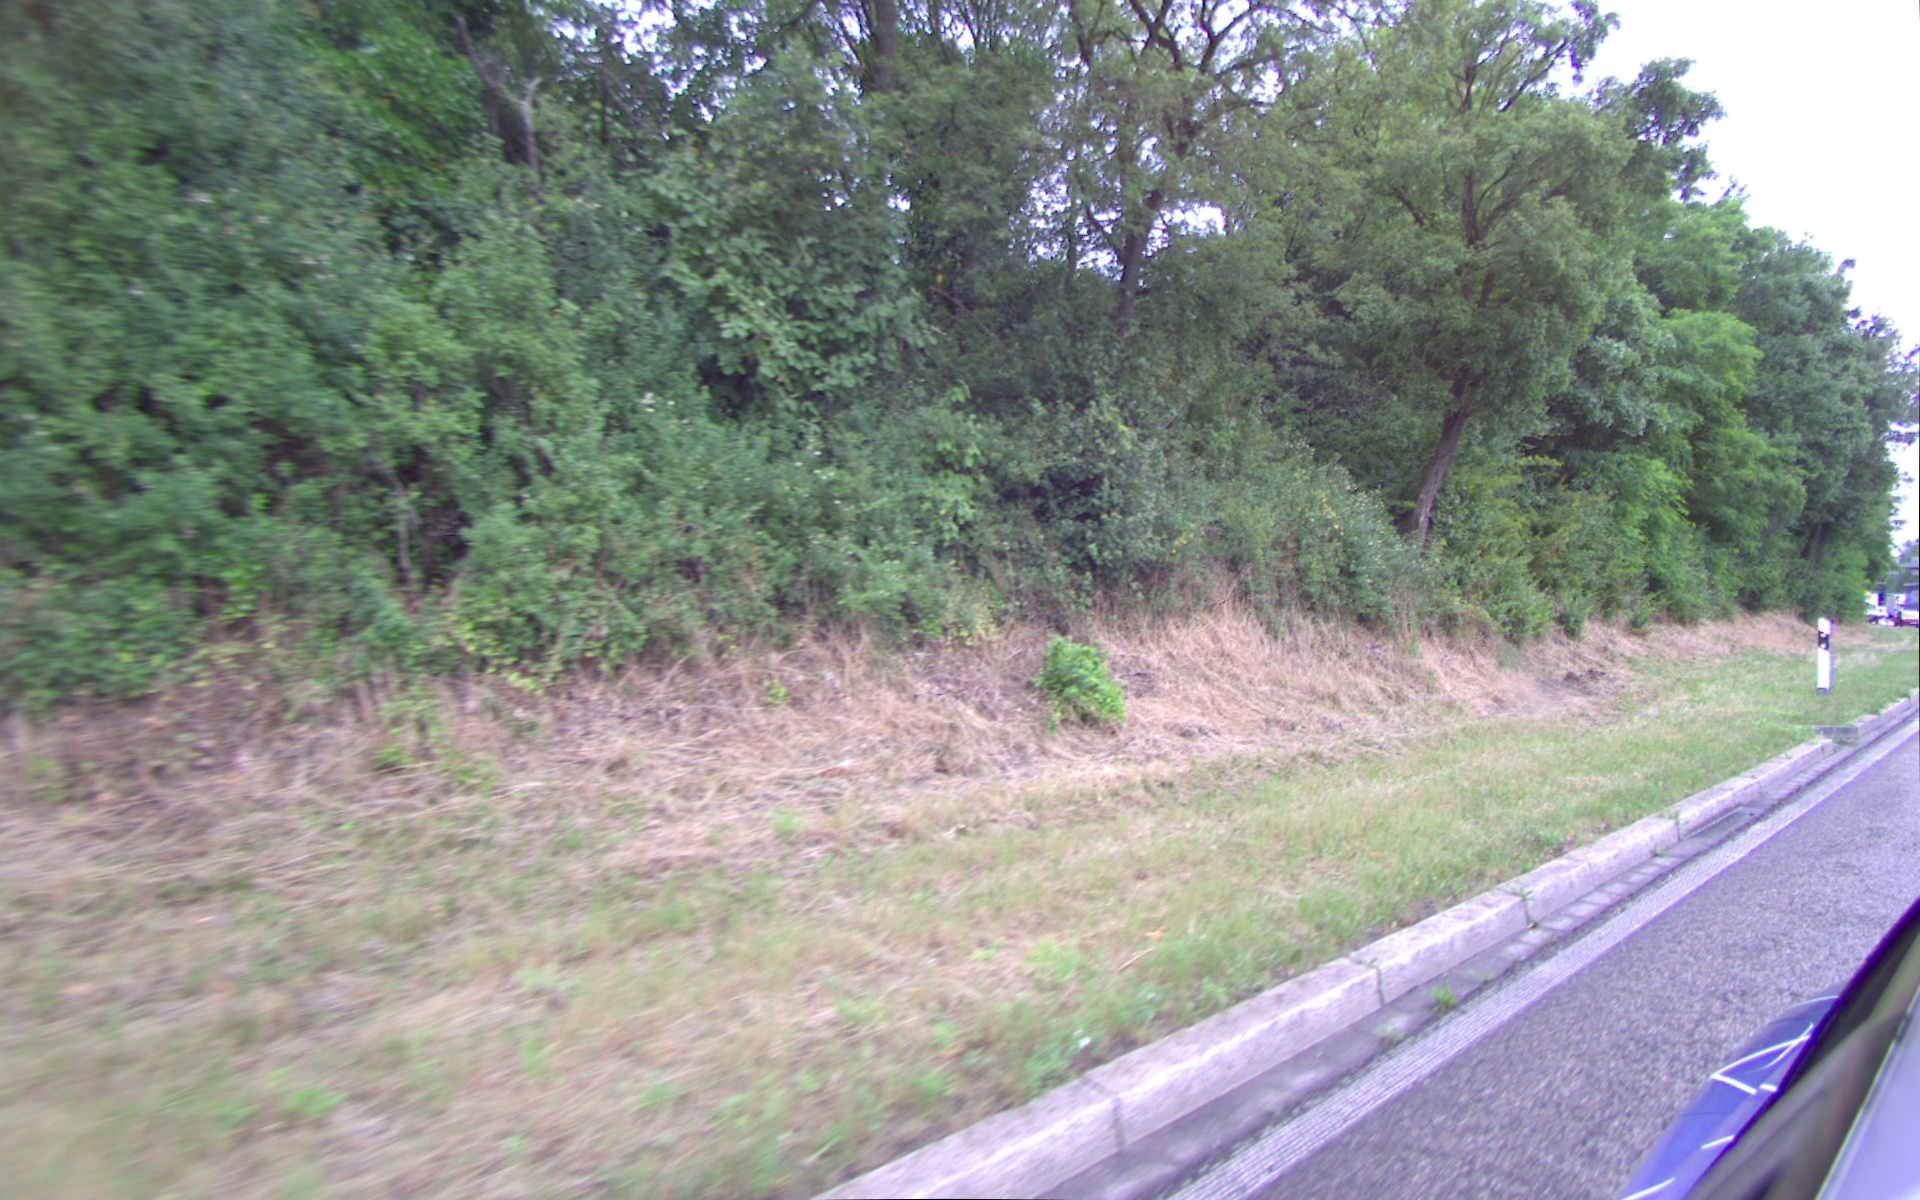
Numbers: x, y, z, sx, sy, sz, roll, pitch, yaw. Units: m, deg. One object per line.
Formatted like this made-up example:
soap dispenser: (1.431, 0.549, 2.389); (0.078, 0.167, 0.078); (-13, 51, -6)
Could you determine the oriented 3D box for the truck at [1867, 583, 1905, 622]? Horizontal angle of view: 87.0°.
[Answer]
truck: (98.780, 0.291, 108.030); (2.242, 4.023, 6.540); (1, 0, 37)
